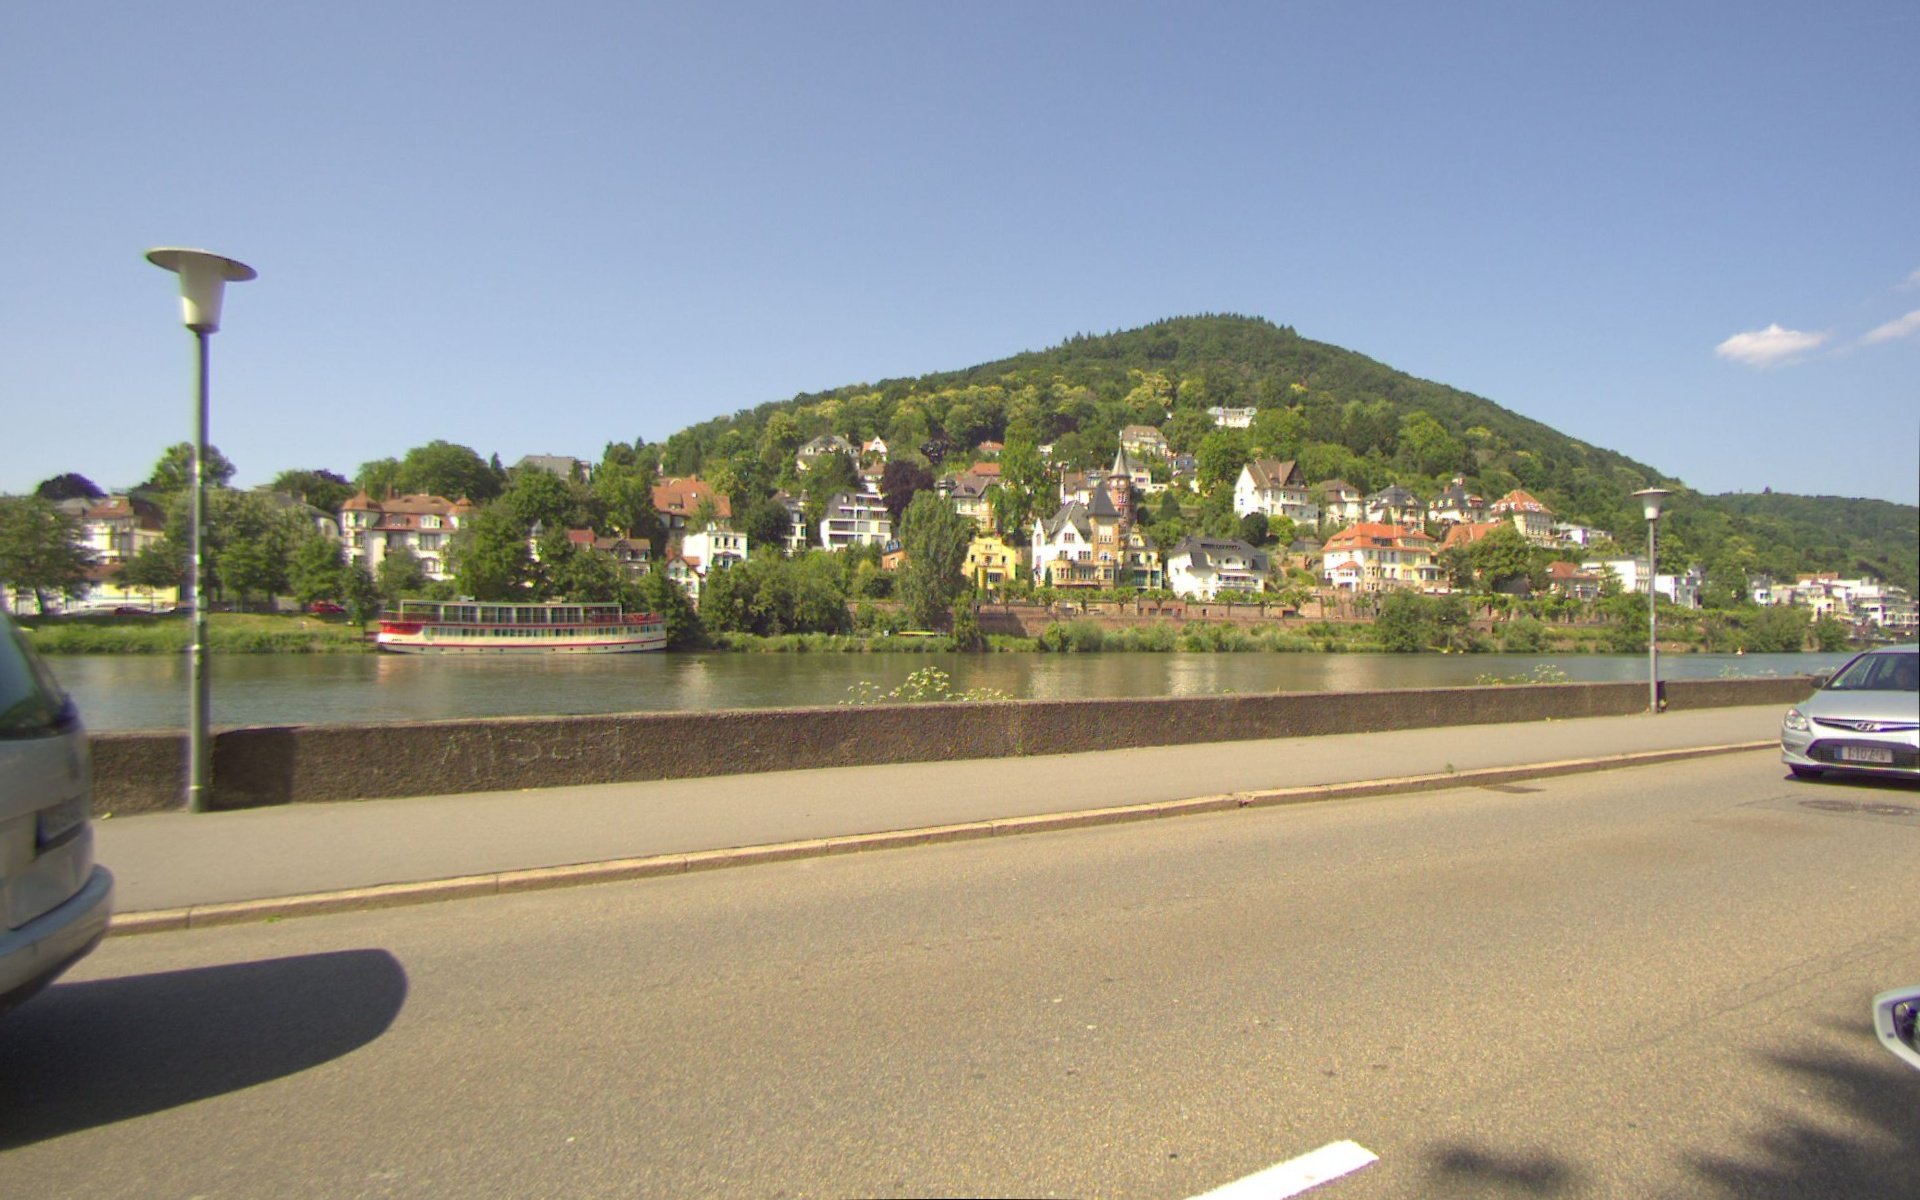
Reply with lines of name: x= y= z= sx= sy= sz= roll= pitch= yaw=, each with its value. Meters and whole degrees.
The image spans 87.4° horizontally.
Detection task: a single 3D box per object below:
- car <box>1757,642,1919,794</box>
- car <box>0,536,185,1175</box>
car: x=10.746 y=1.204 z=11.094 sx=3.998 sy=1.460 sz=1.723 roll=2 pitch=-3 yaw=-31
car: x=-4.618 y=0.658 z=2.401 sx=4.129 sy=1.671 sz=1.723 roll=2 pitch=-3 yaw=-31
